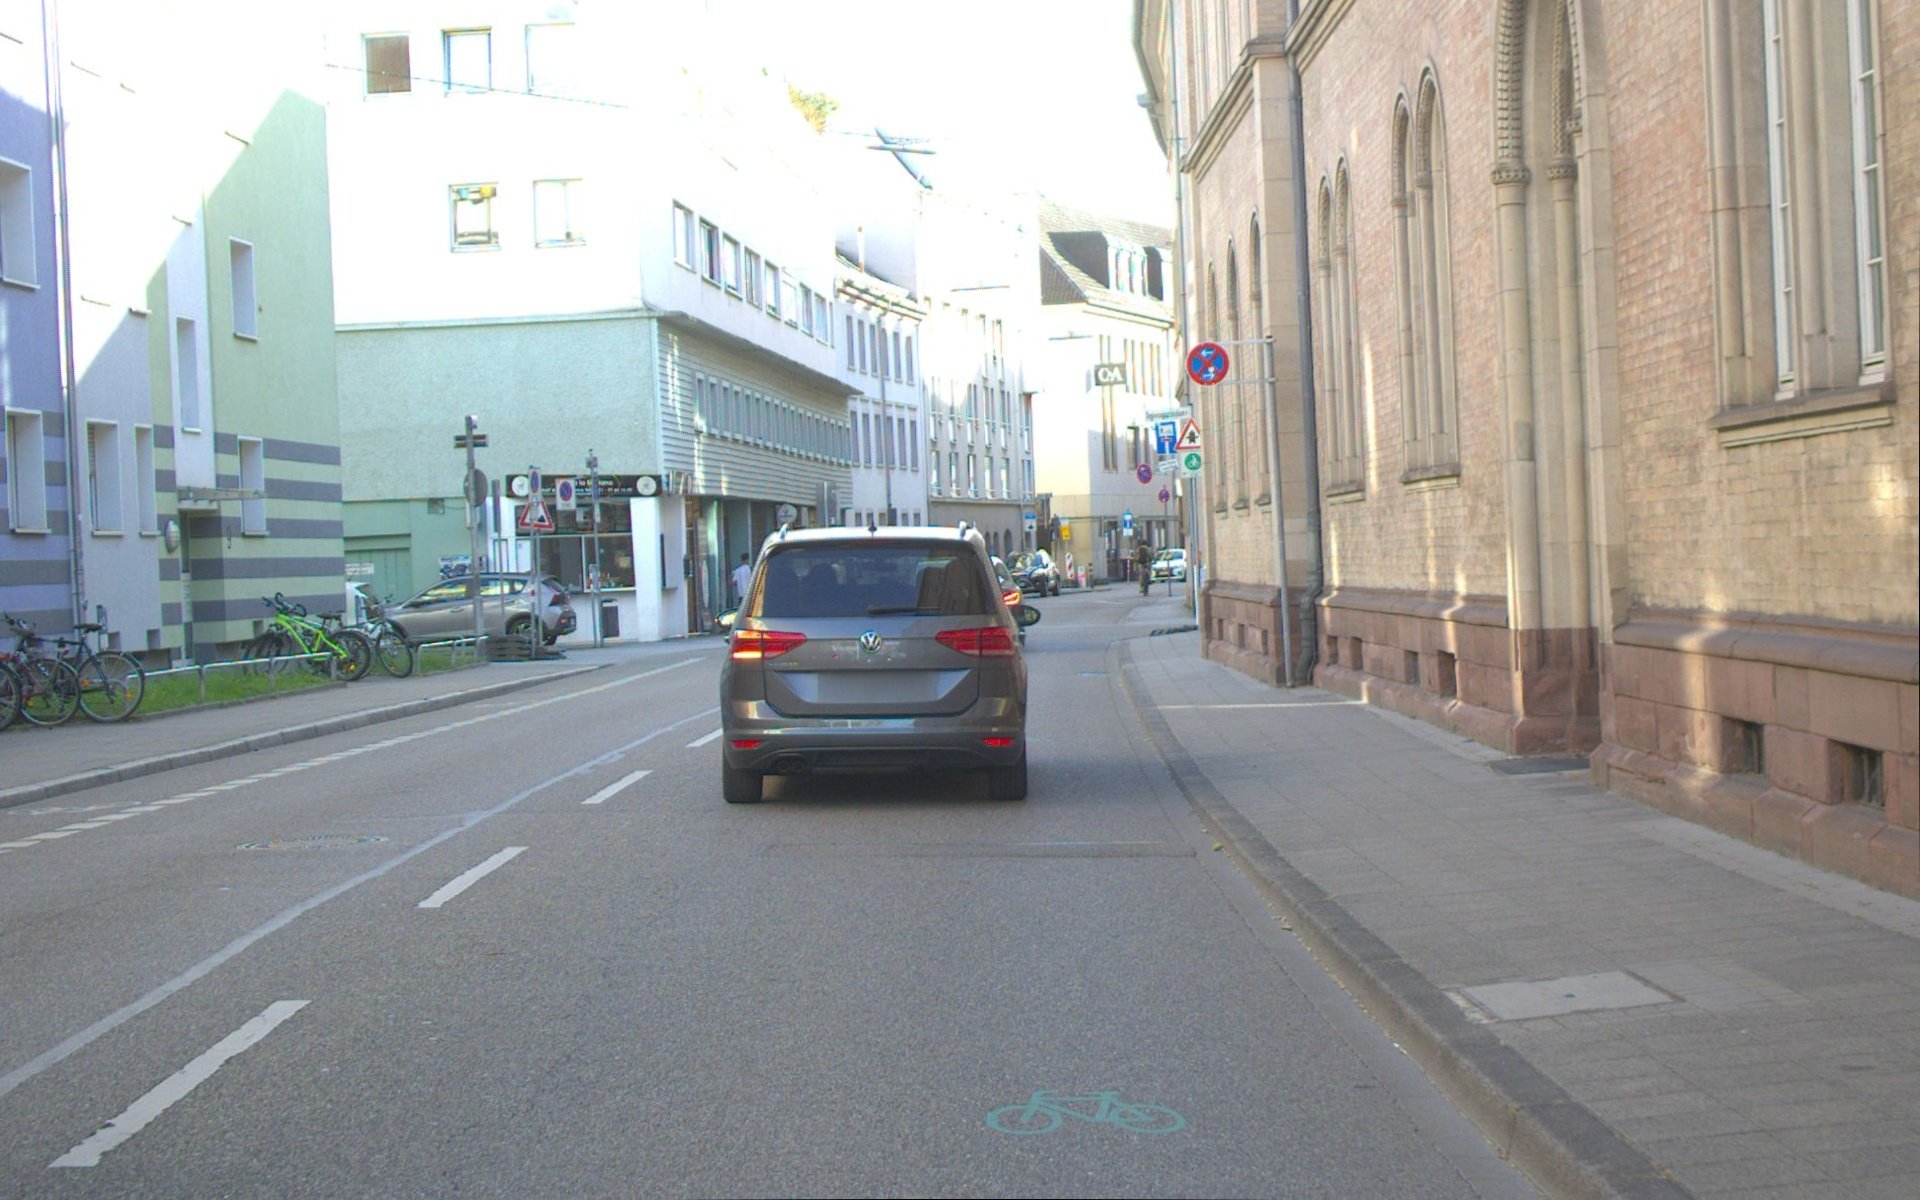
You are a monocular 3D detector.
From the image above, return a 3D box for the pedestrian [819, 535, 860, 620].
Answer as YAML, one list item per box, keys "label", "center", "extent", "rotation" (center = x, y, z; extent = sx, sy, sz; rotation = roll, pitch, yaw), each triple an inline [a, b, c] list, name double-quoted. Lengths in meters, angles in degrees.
- label: "pedestrian"
  center: [-2.628, -0.499, 75.110]
  extent: [0.556, 1.823, 0.730]
  rotation: [-2, 1, 26]

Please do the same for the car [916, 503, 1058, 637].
- label: "car"
  center: [0.414, -0.470, 51.628]
  extent: [1.993, 1.875, 4.000]
  rotation: [-2, 1, 1]

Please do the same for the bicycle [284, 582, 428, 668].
- label: "bicycle"
  center: [-8.397, 0.343, 47.845]
  extent: [1.928, 1.175, 0.613]
  rotation: [0, 0, -6]

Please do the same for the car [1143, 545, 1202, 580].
- label: "car"
  center: [9.484, -1.677, 153.302]
  extent: [1.735, 1.463, 3.997]
  rotation: [-2, 1, 16]

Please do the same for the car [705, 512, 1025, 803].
- label: "car"
  center: [-0.505, 0.289, 21.056]
  extent: [1.762, 1.601, 4.000]
  rotation: [0, 1, 1]

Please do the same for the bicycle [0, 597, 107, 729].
- label: "bicycle"
  center: [-9.199, 0.622, 33.427]
  extent: [1.639, 1.237, 0.467]
  rotation: [-2, 1, 0]

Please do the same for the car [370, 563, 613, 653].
- label: "car"
  center: [-8.671, 0.140, 63.854]
  extent: [4.098, 1.438, 1.947]
  rotation: [-3, 1, 4]

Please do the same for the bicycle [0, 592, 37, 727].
- label: "bicycle"
  center: [-9.515, 0.580, 32.183]
  extent: [1.584, 1.237, 0.449]
  rotation: [-2, 1, 0]

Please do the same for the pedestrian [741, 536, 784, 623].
- label: "pedestrian"
  center: [-4.234, -0.440, 73.798]
  extent: [0.556, 1.823, 0.730]
  rotation: [-2, 1, 26]

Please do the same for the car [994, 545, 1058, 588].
- label: "car"
  center: [2.391, -1.215, 123.356]
  extent: [1.866, 1.463, 3.833]
  rotation: [-2, 1, 7]

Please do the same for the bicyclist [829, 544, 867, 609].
- label: "bicyclist"
  center: [-2.755, -0.585, 84.731]
  extent: [0.831, 1.556, 0.759]
  rotation: [-2, 1, 2]

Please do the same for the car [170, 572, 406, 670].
- label: "car"
  center: [-11.327, 0.342, 58.102]
  extent: [3.501, 1.438, 1.813]
  rotation: [-3, 1, 4]

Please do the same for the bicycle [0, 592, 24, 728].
- label: "bicycle"
  center: [-9.517, 0.576, 31.765]
  extent: [1.579, 1.237, 0.384]
  rotation: [-2, 1, 0]

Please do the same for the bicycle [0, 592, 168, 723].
- label: "bicycle"
  center: [-8.965, 0.578, 34.139]
  extent: [2.008, 1.227, 0.623]
  rotation: [-2, 1, 0]

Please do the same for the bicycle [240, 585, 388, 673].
- label: "bicycle"
  center: [-8.723, 0.390, 46.388]
  extent: [1.928, 1.175, 0.614]
  rotation: [0, 0, -13]
